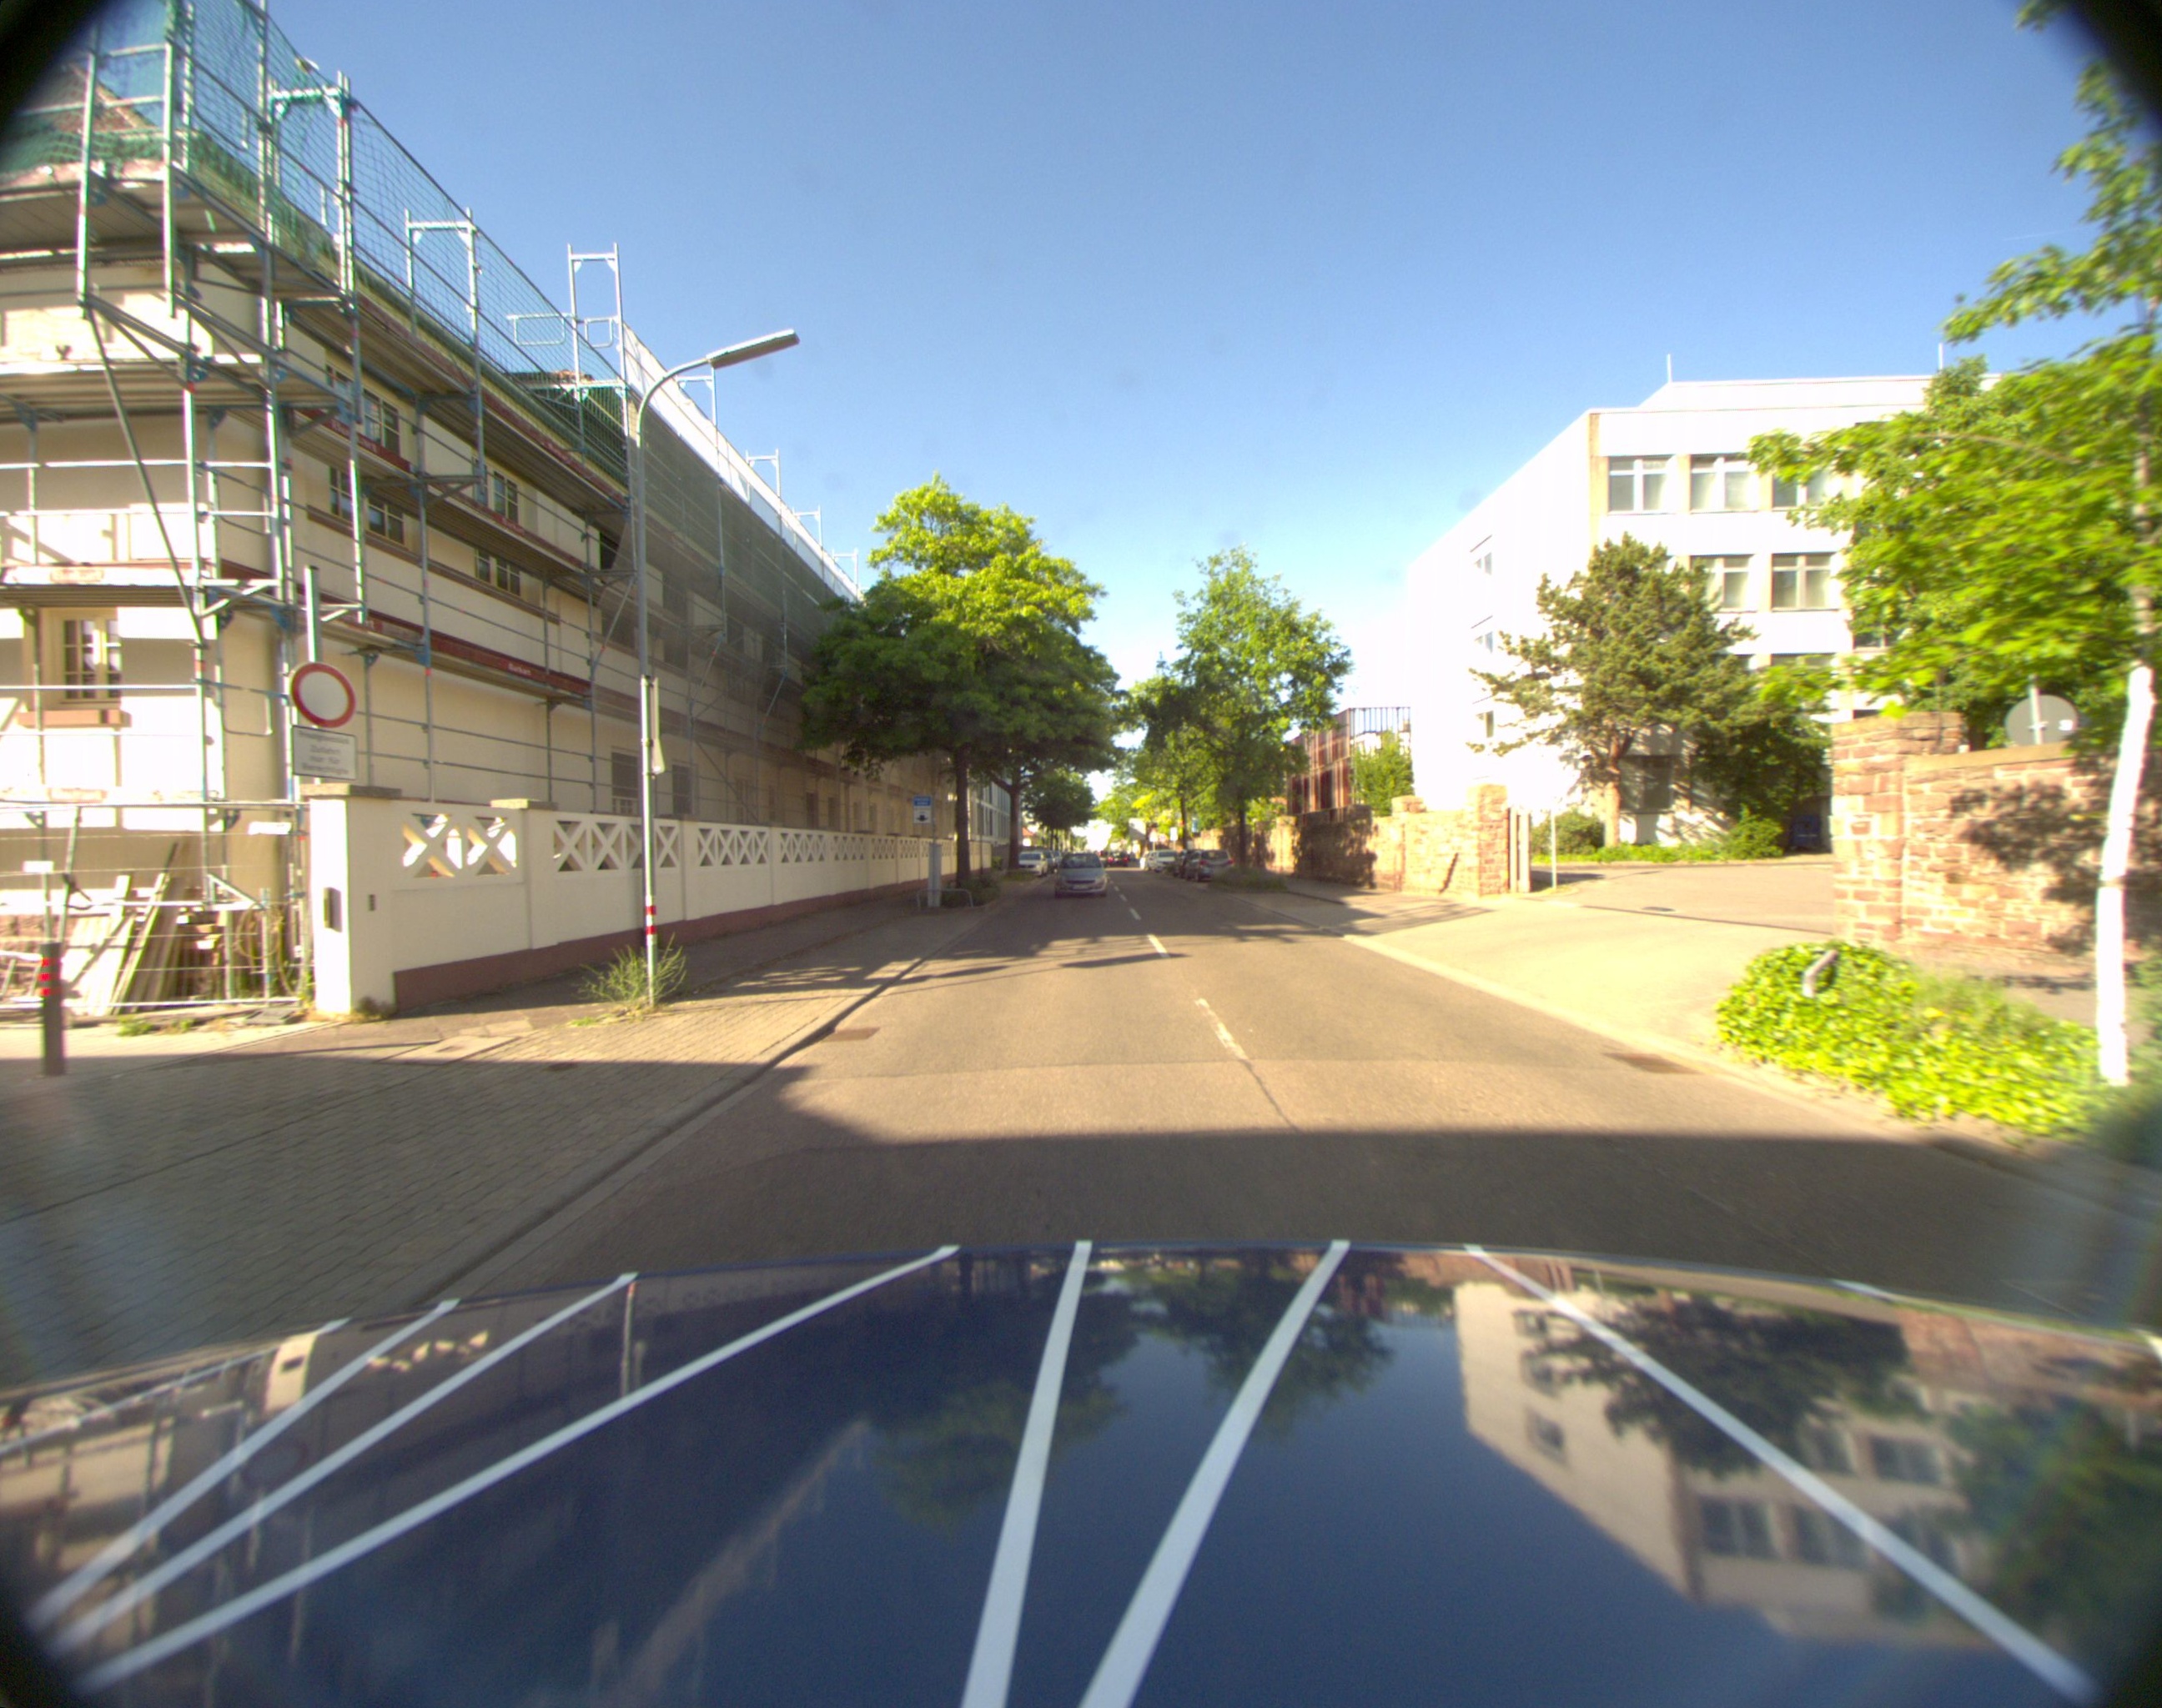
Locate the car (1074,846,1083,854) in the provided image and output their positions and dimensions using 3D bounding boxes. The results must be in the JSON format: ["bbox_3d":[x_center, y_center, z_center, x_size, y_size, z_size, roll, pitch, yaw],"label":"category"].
[{"bbox_3d":[-0.501,-0.853,159.499,1.757,1.459,3.485,-3,1,-1],"label":"car"}]

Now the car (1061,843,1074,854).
[{"bbox_3d":[-2.168,-0.894,120.520,1.887,1.592,4.298,-2,1,1],"label":"car"}]

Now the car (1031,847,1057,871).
[{"bbox_3d":[-2.618,0.311,54.418,1.716,1.629,4.301,-1,1,-1],"label":"car"}]

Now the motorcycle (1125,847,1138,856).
[{"bbox_3d":[6.586,-0.325,98.366,0.599,1.026,2.132,-1,1,35],"label":"motorcycle"}]

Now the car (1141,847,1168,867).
[{"bbox_3d":[5.615,0.192,58.333,1.578,1.394,3.750,-5,1,0],"label":"car"}]

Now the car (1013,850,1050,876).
[{"bbox_3d":[-2.908,0.495,45.277,1.727,1.501,3.992,0,1,4],"label":"car"}]

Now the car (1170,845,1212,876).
[{"bbox_3d":[5.815,0.300,40.539,1.577,1.506,4.044,-2,1,0],"label":"car"}]

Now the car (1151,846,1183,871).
[{"bbox_3d":[5.817,0.258,51.776,1.681,1.502,3.849,-4,1,1],"label":"car"}]

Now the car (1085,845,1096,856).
[{"bbox_3d":[1.734,-0.652,137.462,1.834,1.733,4.000,-3,1,3],"label":"car"}]

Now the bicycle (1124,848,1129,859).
[{"bbox_3d":[4.963,-0.094,82.843,0.358,1.114,1.866,-3,1,2],"label":"bicycle"}]

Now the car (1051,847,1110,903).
[{"bbox_3d":[0.057,0.641,25.835,1.748,1.613,4.106,-3,1,2],"label":"car"}]

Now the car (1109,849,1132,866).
[{"bbox_3d":[3.462,0.285,67.320,1.826,1.428,3.969,1,1,1],"label":"car"}]

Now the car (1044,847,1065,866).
[{"bbox_3d":[-2.429,0.233,70.352,1.797,1.606,4.125,-2,1,-1],"label":"car"}]

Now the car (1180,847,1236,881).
[{"bbox_3d":[5.805,0.423,35.192,1.692,1.413,3.837,-3,1,-3],"label":"car"}]

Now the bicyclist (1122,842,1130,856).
[{"bbox_3d":[4.922,-0.562,82.888,0.722,1.514,1.005,-3,1,3],"label":"bicyclist"}]

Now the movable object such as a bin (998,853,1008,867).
[{"bbox_3d":[-5.924,0.477,57.422,0.599,1.021,0.564,-3,1,4],"label":"movable object such as a bin"}]
